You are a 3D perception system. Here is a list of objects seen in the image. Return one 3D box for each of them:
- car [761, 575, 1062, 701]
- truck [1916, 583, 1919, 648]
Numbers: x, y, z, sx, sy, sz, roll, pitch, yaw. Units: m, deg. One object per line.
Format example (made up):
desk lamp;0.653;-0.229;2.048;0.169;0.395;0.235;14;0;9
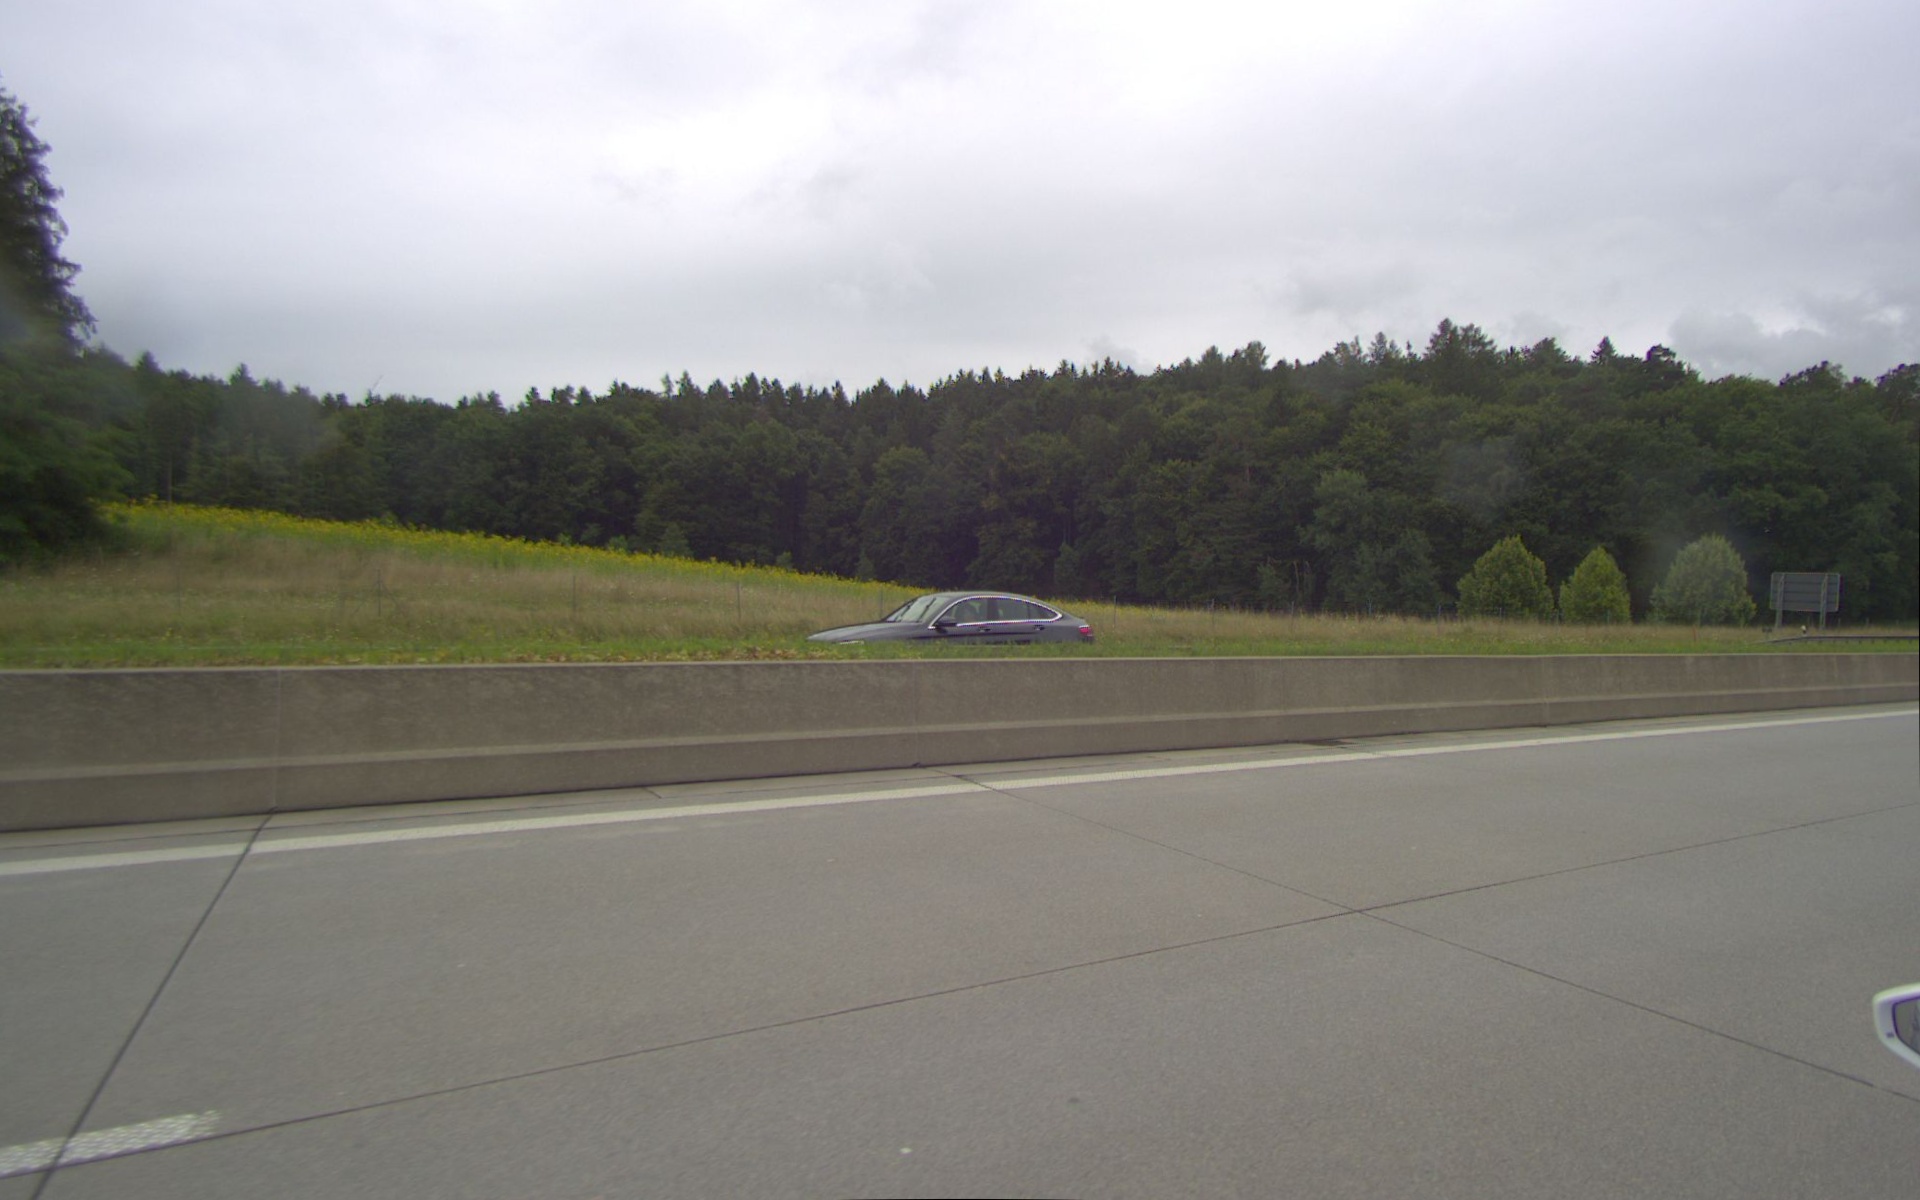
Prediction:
car;-0.681;0.508;14.633;3.953;1.609;1.876;1;0;-30
truck;61.316;1.023;60.129;11.215;3.823;2.800;1;0;-30
